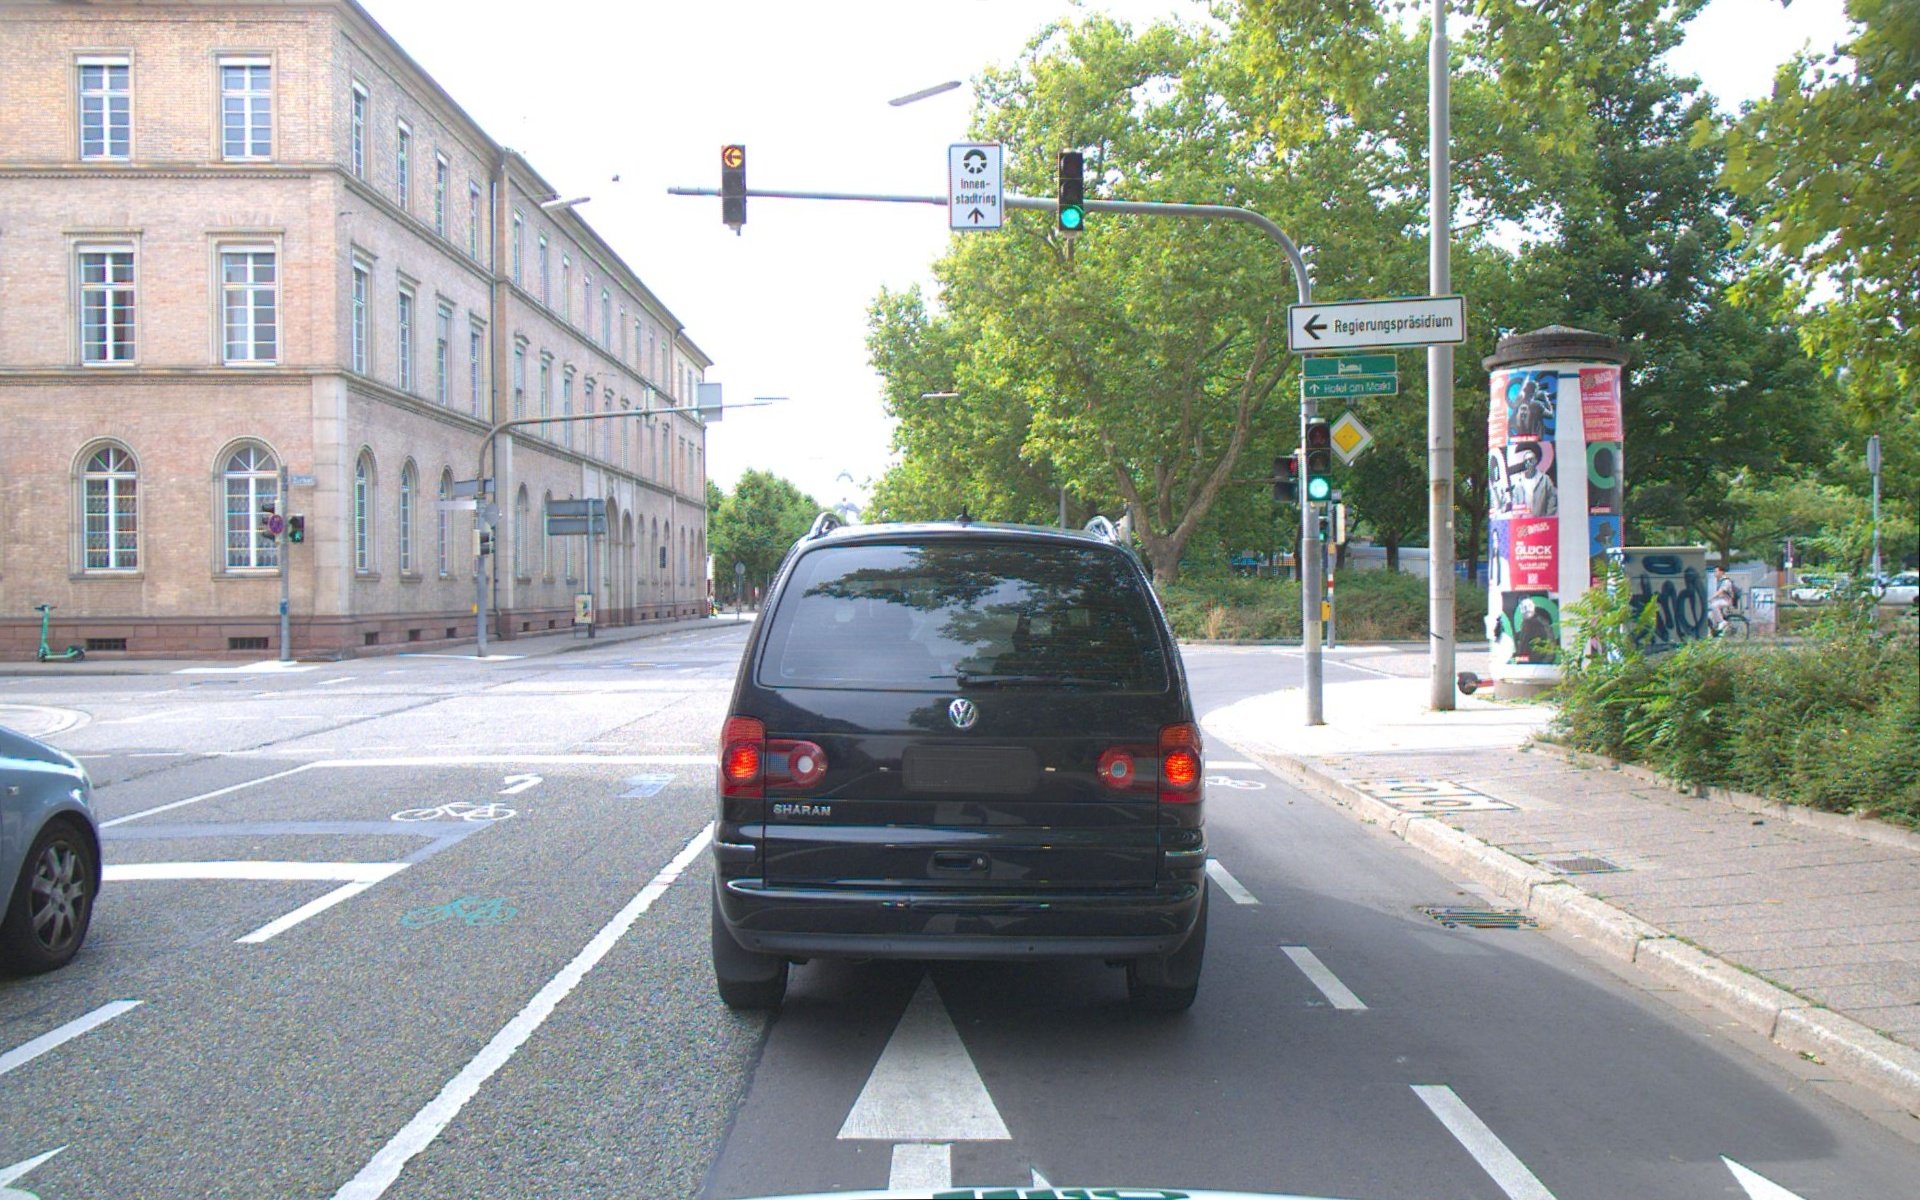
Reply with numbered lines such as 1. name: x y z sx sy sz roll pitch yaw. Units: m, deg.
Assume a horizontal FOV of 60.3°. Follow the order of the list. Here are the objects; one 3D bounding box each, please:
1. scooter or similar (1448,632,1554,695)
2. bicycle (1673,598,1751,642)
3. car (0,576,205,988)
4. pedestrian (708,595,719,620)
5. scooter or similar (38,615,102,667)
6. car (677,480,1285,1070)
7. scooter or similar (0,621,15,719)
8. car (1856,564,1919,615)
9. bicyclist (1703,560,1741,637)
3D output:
1. scooter or similar: 6.675 0.779 20.422 1.194 0.749 0.369 -1 0 -2
2. bicycle: 16.205 0.430 35.648 1.440 0.900 0.555 -1 0 -1
3. car: -4.221 0.679 5.285 1.678 1.445 4.252 -2 1 -1
4. pedestrian: -14.365 0.424 96.554 0.545 1.460 0.579 -1 0 -1
5. scooter or similar: -18.367 0.846 34.133 1.115 1.068 0.379 -1 -1 -1
6. car: 0.048 0.504 7.311 1.835 1.775 4.573 0 1 -1
7. scooter or similar: -11.566 0.830 19.410 0.370 1.164 1.141 -1 -1 -4
8. car: 32.442 -0.381 55.918 1.922 1.680 4.151 -1 0 -3
9. bicyclist: 16.430 -0.033 35.655 0.557 1.646 0.535 -1 0 -1
